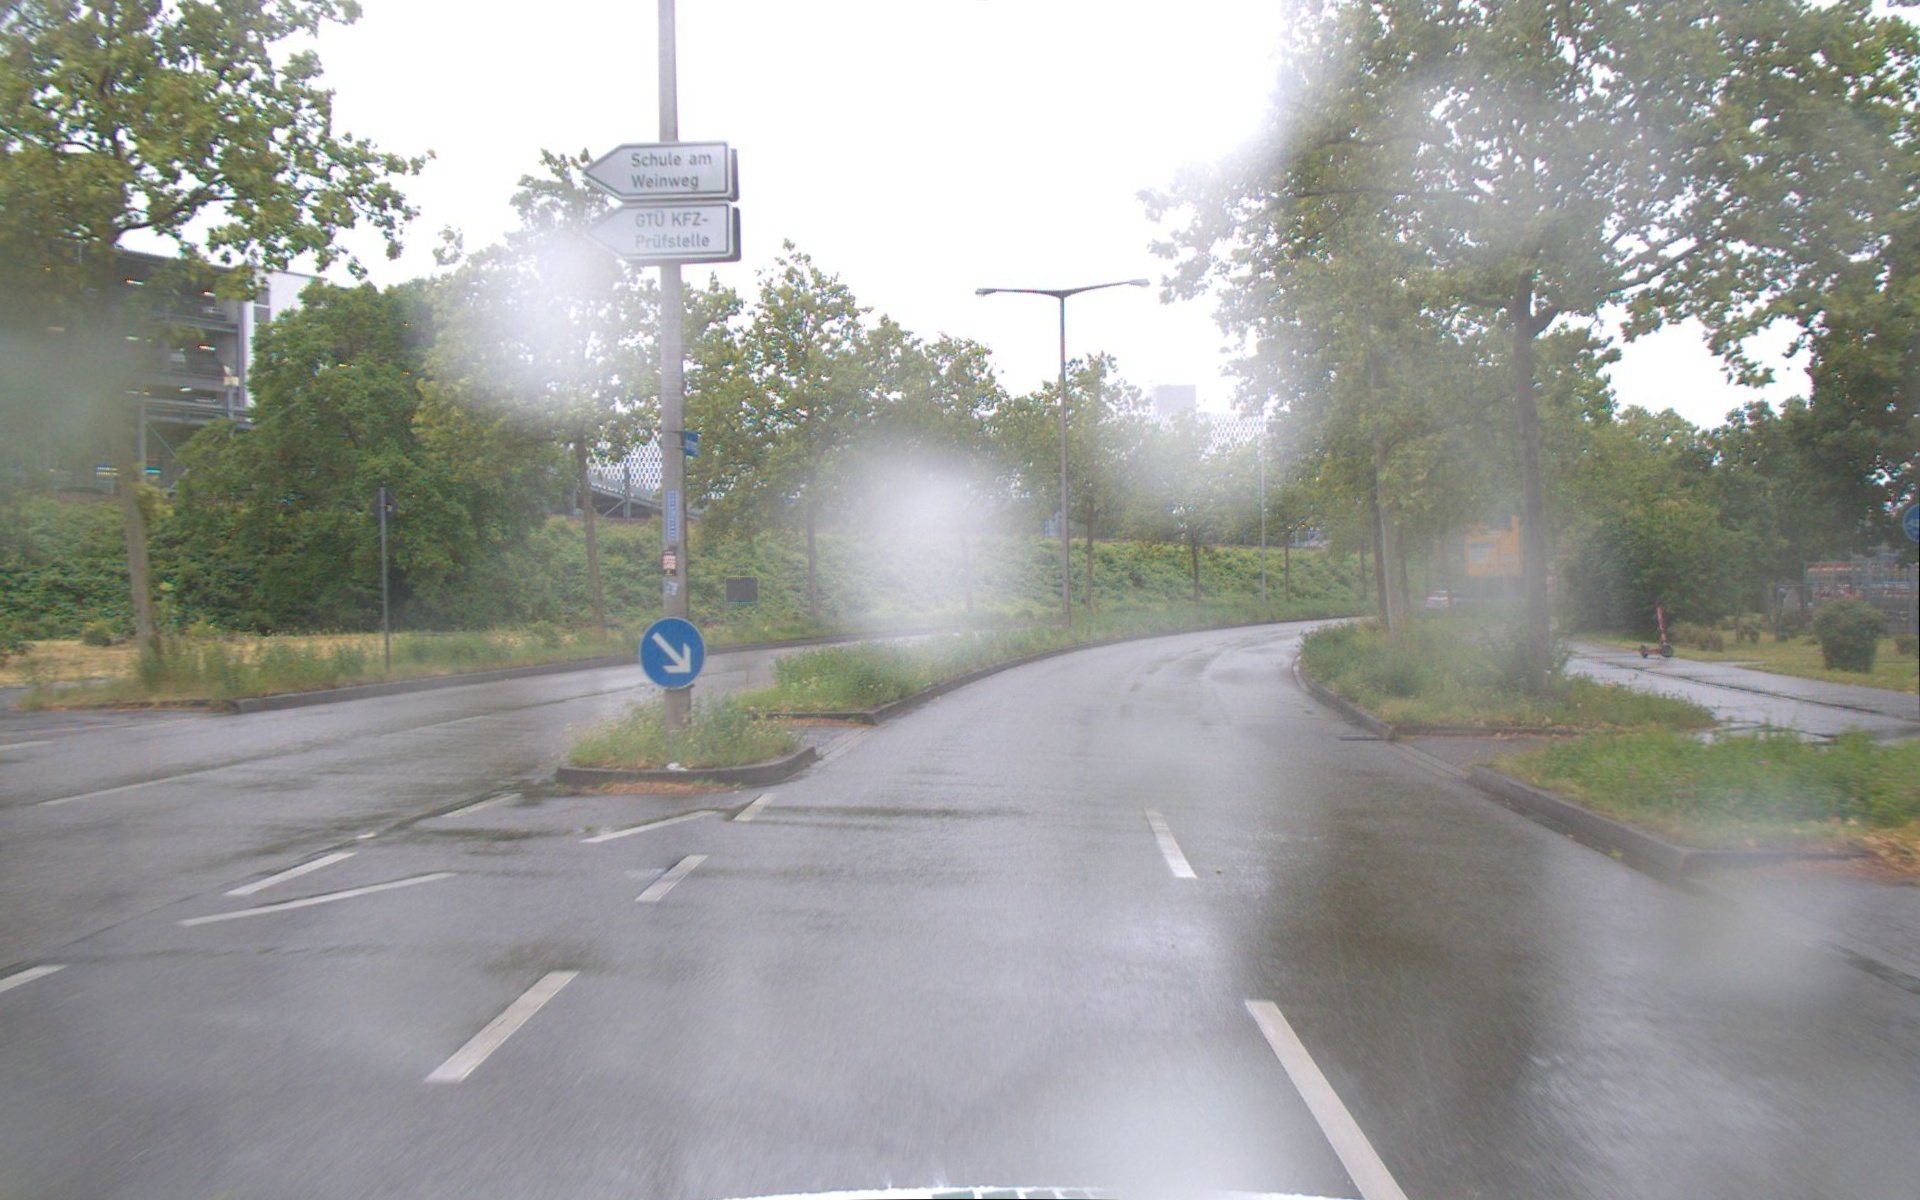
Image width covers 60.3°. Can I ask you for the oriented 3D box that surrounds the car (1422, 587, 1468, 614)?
[{"bbox_3d":[29.877,0.021,101.823,1.747,1.582,3.991,1,1,31],"label":"car"}]

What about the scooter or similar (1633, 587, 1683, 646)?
[{"bbox_3d":[14.680,0.348,34.796,0.537,1.219,1.111,0,0,-3],"label":"scooter or similar"}]
